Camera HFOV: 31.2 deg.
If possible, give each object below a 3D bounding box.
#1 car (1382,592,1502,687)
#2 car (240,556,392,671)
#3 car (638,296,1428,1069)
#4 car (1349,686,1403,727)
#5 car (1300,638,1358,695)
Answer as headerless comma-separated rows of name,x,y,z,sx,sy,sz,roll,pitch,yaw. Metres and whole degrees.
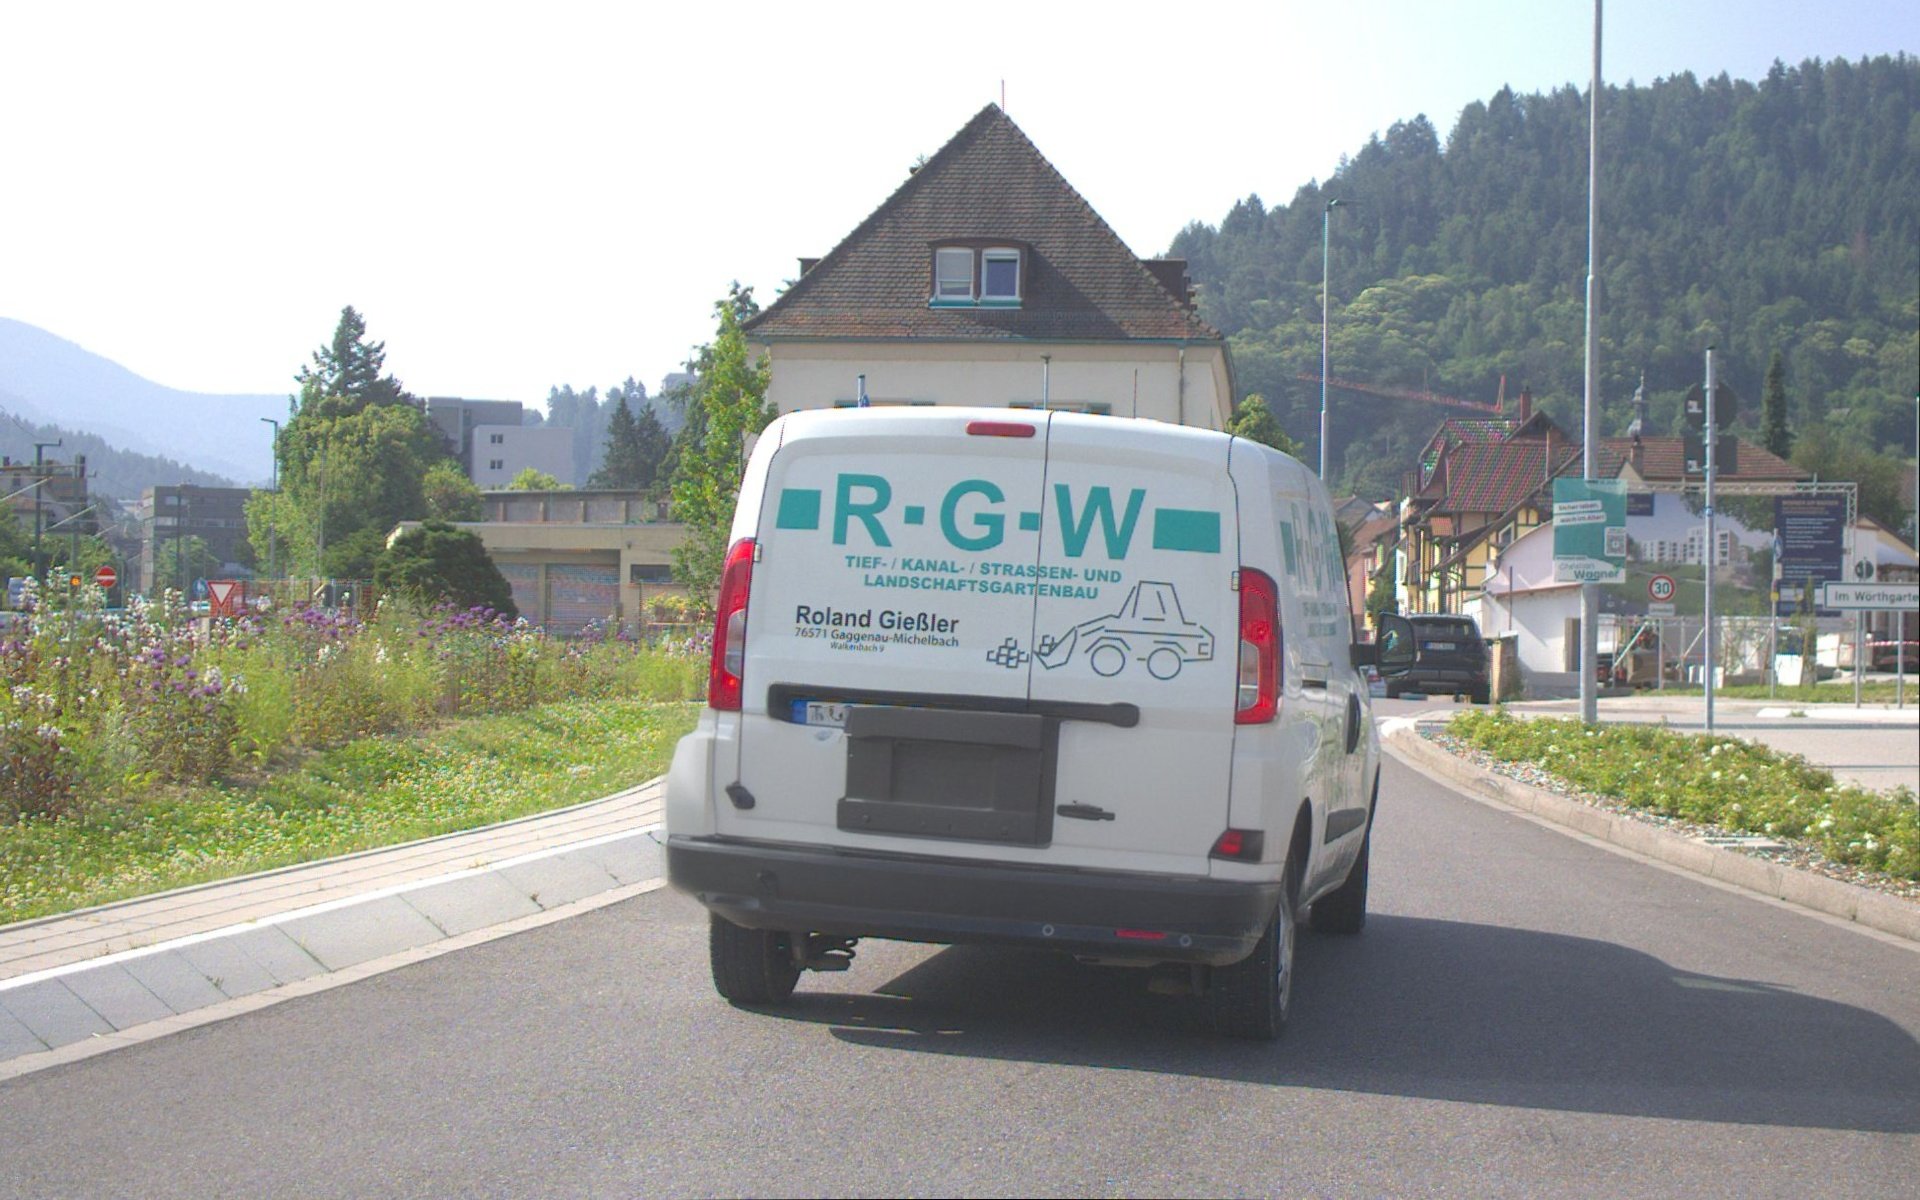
car,8.933,0.740,63.476,1.882,1.678,3.997,1,-1,12
car,-11.648,0.230,62.423,1.809,2.007,4.000,1,0,3
car,0.488,0.209,11.926,1.807,2.070,4.602,3,1,12
car,10.475,2.676,86.611,1.306,1.000,3.090,1,-1,7
car,13.254,2.391,123.313,1.994,2.007,3.998,1,-1,7
